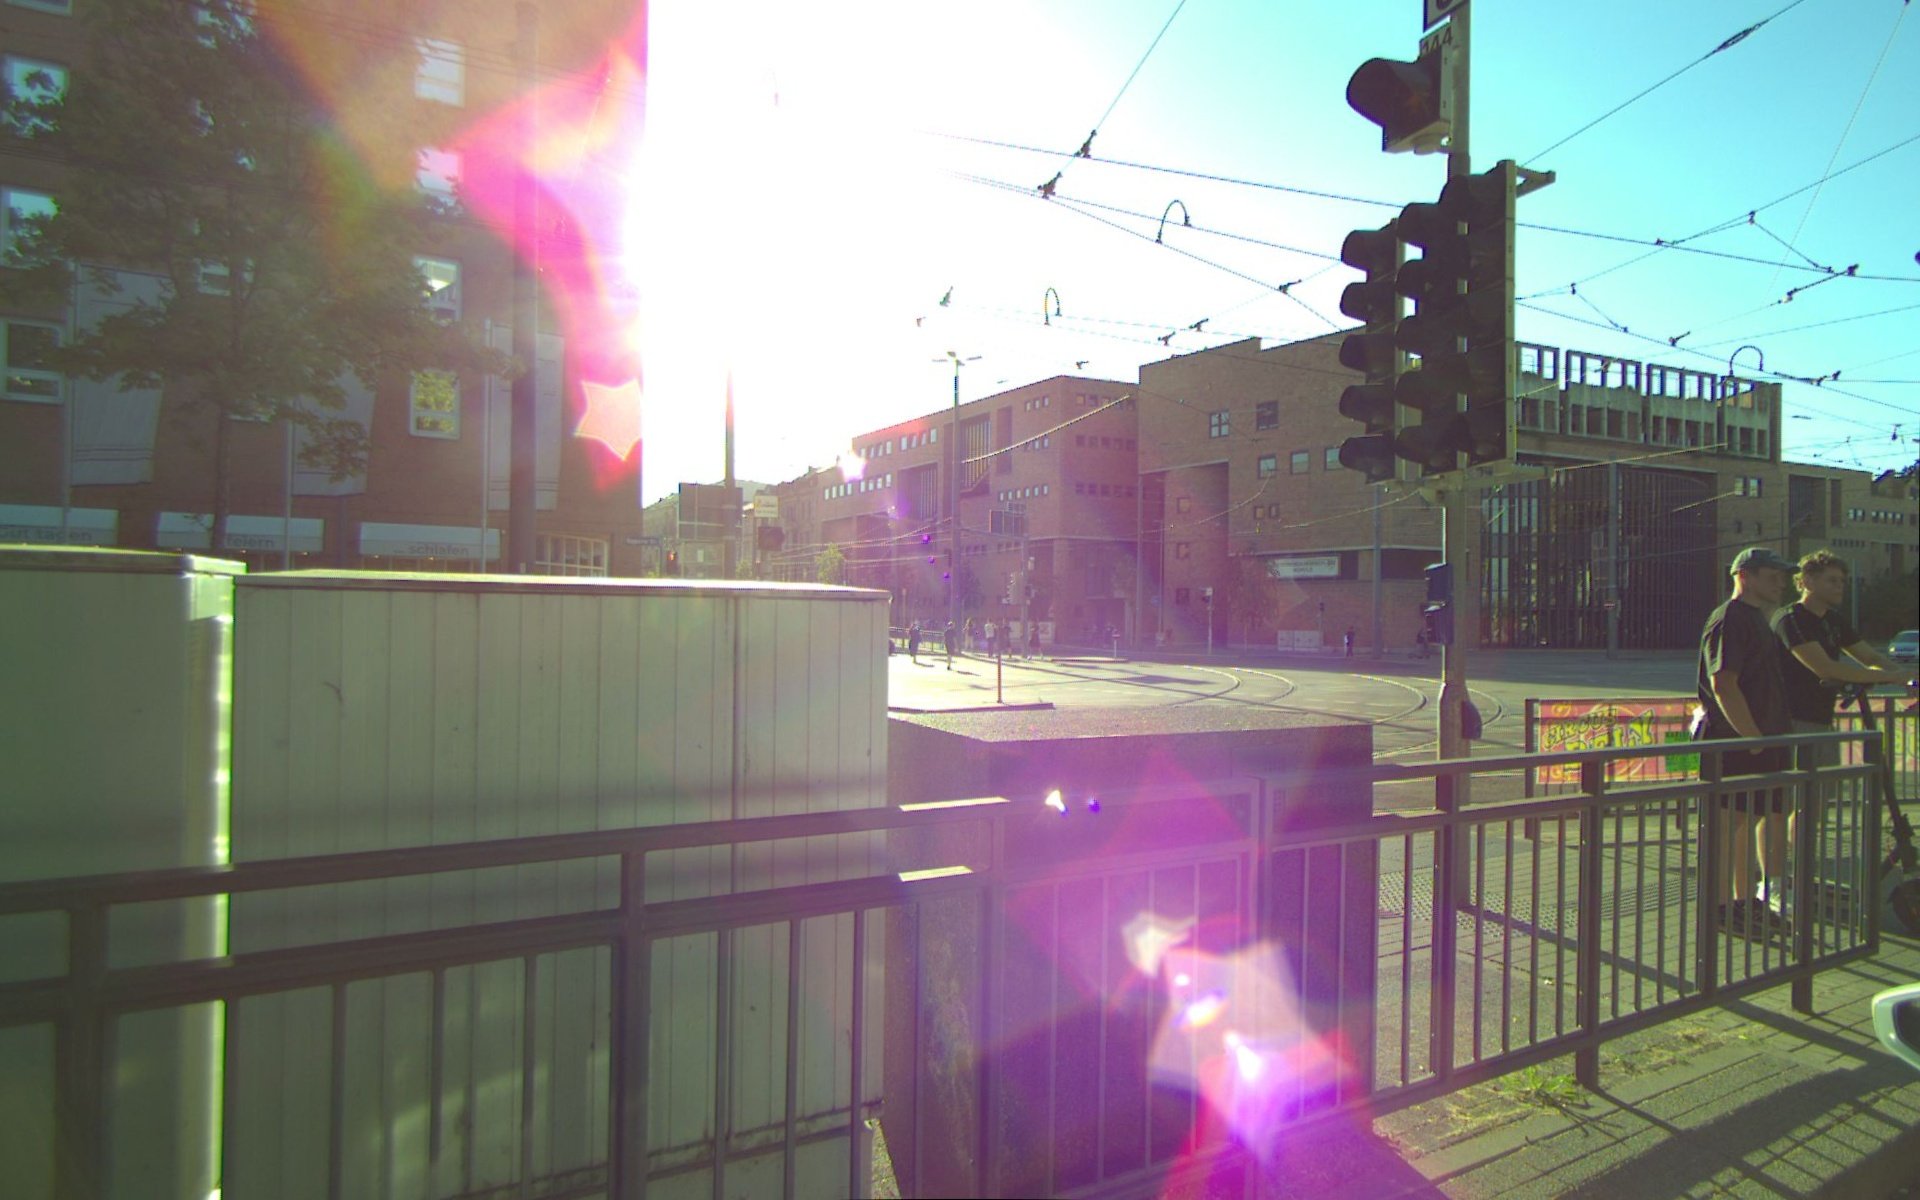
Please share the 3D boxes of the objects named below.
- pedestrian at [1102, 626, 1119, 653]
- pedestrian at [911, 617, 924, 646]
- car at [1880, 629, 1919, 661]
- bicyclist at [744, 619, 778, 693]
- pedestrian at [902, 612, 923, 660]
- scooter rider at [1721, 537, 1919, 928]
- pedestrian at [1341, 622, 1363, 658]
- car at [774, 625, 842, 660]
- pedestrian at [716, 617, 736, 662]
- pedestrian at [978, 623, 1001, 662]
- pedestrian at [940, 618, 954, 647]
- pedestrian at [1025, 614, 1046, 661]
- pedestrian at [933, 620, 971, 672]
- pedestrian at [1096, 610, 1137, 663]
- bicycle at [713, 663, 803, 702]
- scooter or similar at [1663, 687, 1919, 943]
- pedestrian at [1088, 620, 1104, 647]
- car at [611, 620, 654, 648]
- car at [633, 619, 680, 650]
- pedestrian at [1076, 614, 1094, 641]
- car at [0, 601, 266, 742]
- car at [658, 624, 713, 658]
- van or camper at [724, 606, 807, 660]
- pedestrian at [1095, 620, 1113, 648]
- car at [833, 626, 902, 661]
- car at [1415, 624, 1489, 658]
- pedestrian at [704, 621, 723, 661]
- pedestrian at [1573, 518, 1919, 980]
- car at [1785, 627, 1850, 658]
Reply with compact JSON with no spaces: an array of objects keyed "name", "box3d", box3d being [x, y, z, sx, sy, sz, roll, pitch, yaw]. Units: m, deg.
[{"name":"pedestrian","box3d":[11.688,3.083,78.100,0.841,2.079,1.001,1,-1,-32]},{"name":"pedestrian","box3d":[-3.084,2.284,72.439,0.644,2.040,0.780,1,-1,-32]},{"name":"car","box3d":[48.938,2.303,51.698,3.962,1.598,1.610,1,-2,-36]},{"name":"bicyclist","box3d":[-4.484,1.249,22.628,0.510,1.647,0.582,1,-1,-40]},{"name":"pedestrian","box3d":[-2.044,1.538,43.057,0.724,2.040,0.609,1,-1,-28]},{"name":"scooter rider","box3d":[4.478,0.652,5.239,0.670,1.877,0.564,3,-2,-25]},{"name":"pedestrian","box3d":[21.719,2.208,55.691,0.866,1.927,0.718,2,0,-33]},{"name":"car","box3d":[-7.789,2.141,51.187,1.978,1.709,3.965,1,-2,-33]},{"name":"pedestrian","box3d":[-10.557,1.773,45.338,0.597,2.040,0.848,1,-1,-38]},{"name":"pedestrian","box3d":[1.348,1.942,45.875,0.857,1.775,0.672,1,-1,-30]},{"name":"pedestrian","box3d":[-0.908,2.258,70.203,0.742,2.010,0.780,1,-1,-32]},{"name":"pedestrian","box3d":[3.282,1.619,43.644,0.603,2.040,0.731,0,-1,30]},{"name":"pedestrian","box3d":[-0.278,1.650,36.394,0.942,1.822,0.990,2,0,35]},{"name":"pedestrian","box3d":[6.201,1.460,39.879,1.193,2.040,1.028,2,0,-30]},{"name":"bicycle","box3d":[-4.526,1.843,22.573,1.951,0.781,0.585,2,-2,-40]},{"name":"scooter or similar","box3d":[4.469,1.039,5.202,0.639,1.095,1.199,1,-1,-25]},{"name":"pedestrian","box3d":[10.431,2.573,77.038,0.841,2.079,1.001,1,-1,-32]},{"name":"car","box3d":[-21.074,2.167,64.525,1.738,1.750,3.965,1,-2,-32]},{"name":"car","box3d":[-18.157,2.046,59.971,1.738,1.750,3.965,1,-2,-32]},{"name":"pedestrian","box3d":[9.509,2.067,76.412,0.902,2.040,1.151,1,-1,-34]},{"name":"car","box3d":[-12.264,0.947,14.173,3.958,1.786,1.856,1,0,-34]},{"name":"car","box3d":[-14.989,2.209,54.771,1.739,1.750,3.963,1,-2,-33]},{"name":"van or camper","box3d":[-9.354,1.565,47.936,1.981,2.451,4.980,1,-2,-36]},{"name":"pedestrian","box3d":[10.848,2.538,75.699,0.841,2.079,1.001,1,-1,-32]},{"name":"car","box3d":[-4.798,2.235,51.812,1.978,1.709,3.965,1,-2,-33]},{"name":"car","box3d":[30.340,2.505,61.967,4.135,2.040,1.988,1,-2,-25]},{"name":"pedestrian","box3d":[-11.723,1.944,47.715,0.597,1.843,0.848,1,-1,-38]},{"name":"pedestrian","box3d":[3.815,0.635,4.875,0.843,1.908,1.164,1,-1,-25]},{"name":"car","box3d":[58.539,2.909,68.580,4.415,2.040,1.869,1,-1,-28]}]
